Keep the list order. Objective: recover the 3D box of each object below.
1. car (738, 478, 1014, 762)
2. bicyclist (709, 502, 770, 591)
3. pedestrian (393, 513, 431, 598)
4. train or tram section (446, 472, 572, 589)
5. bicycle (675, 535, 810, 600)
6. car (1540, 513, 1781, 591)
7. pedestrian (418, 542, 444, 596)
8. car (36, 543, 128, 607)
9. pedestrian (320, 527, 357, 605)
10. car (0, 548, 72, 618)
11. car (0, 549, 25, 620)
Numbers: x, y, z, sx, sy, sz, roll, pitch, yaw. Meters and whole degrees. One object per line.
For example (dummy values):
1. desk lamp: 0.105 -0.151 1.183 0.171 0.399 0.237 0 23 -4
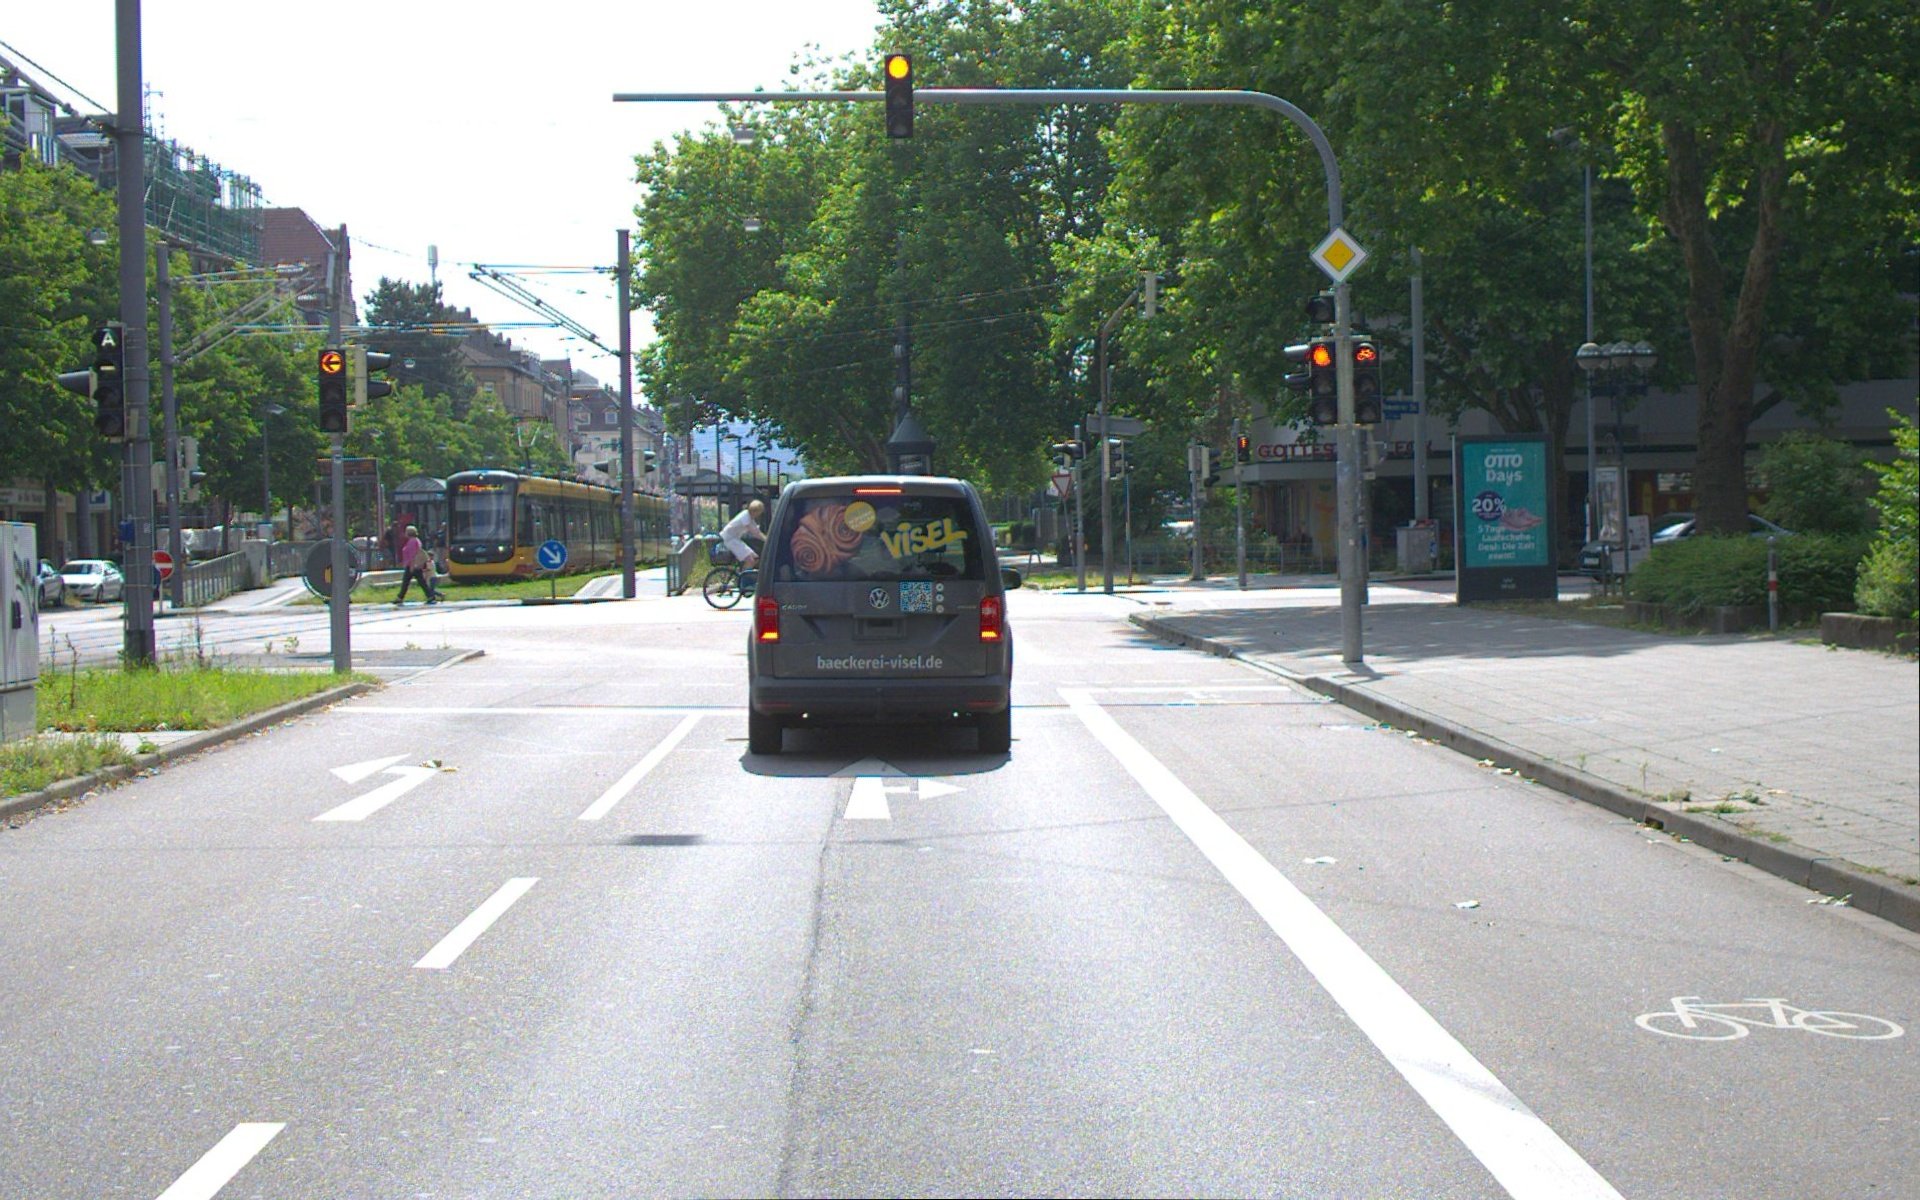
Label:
1. car: -0.550 0.087 23.540 1.750 1.802 3.475 0 1 -1
2. bicyclist: -3.837 -0.934 59.818 0.997 1.506 0.781 -2 1 -1
3. pedestrian: -11.665 -0.944 73.244 0.659 1.778 0.660 -2 1 -1
4. train or tram section: -13.816 -2.165 106.284 2.240 3.320 12.972 -2 1 -1
5. bicycle: -3.774 -0.573 59.822 2.301 1.045 0.897 -2 1 -2
6. car: 13.834 -0.951 67.876 4.480 1.385 1.707 -2 1 -24
7. pedestrian: -11.366 -0.676 73.849 0.463 1.140 0.435 -2 1 -1
8. car: -28.703 -0.837 112.473 1.993 2.007 4.000 -2 1 -1
9. pedestrian: -13.609 -0.757 75.275 0.659 1.679 0.655 -2 1 -1
10. car: -28.372 -0.525 103.971 1.993 2.007 4.000 -2 1 -1
11. car: -28.490 -0.414 99.025 1.993 2.007 4.000 -2 1 -1
